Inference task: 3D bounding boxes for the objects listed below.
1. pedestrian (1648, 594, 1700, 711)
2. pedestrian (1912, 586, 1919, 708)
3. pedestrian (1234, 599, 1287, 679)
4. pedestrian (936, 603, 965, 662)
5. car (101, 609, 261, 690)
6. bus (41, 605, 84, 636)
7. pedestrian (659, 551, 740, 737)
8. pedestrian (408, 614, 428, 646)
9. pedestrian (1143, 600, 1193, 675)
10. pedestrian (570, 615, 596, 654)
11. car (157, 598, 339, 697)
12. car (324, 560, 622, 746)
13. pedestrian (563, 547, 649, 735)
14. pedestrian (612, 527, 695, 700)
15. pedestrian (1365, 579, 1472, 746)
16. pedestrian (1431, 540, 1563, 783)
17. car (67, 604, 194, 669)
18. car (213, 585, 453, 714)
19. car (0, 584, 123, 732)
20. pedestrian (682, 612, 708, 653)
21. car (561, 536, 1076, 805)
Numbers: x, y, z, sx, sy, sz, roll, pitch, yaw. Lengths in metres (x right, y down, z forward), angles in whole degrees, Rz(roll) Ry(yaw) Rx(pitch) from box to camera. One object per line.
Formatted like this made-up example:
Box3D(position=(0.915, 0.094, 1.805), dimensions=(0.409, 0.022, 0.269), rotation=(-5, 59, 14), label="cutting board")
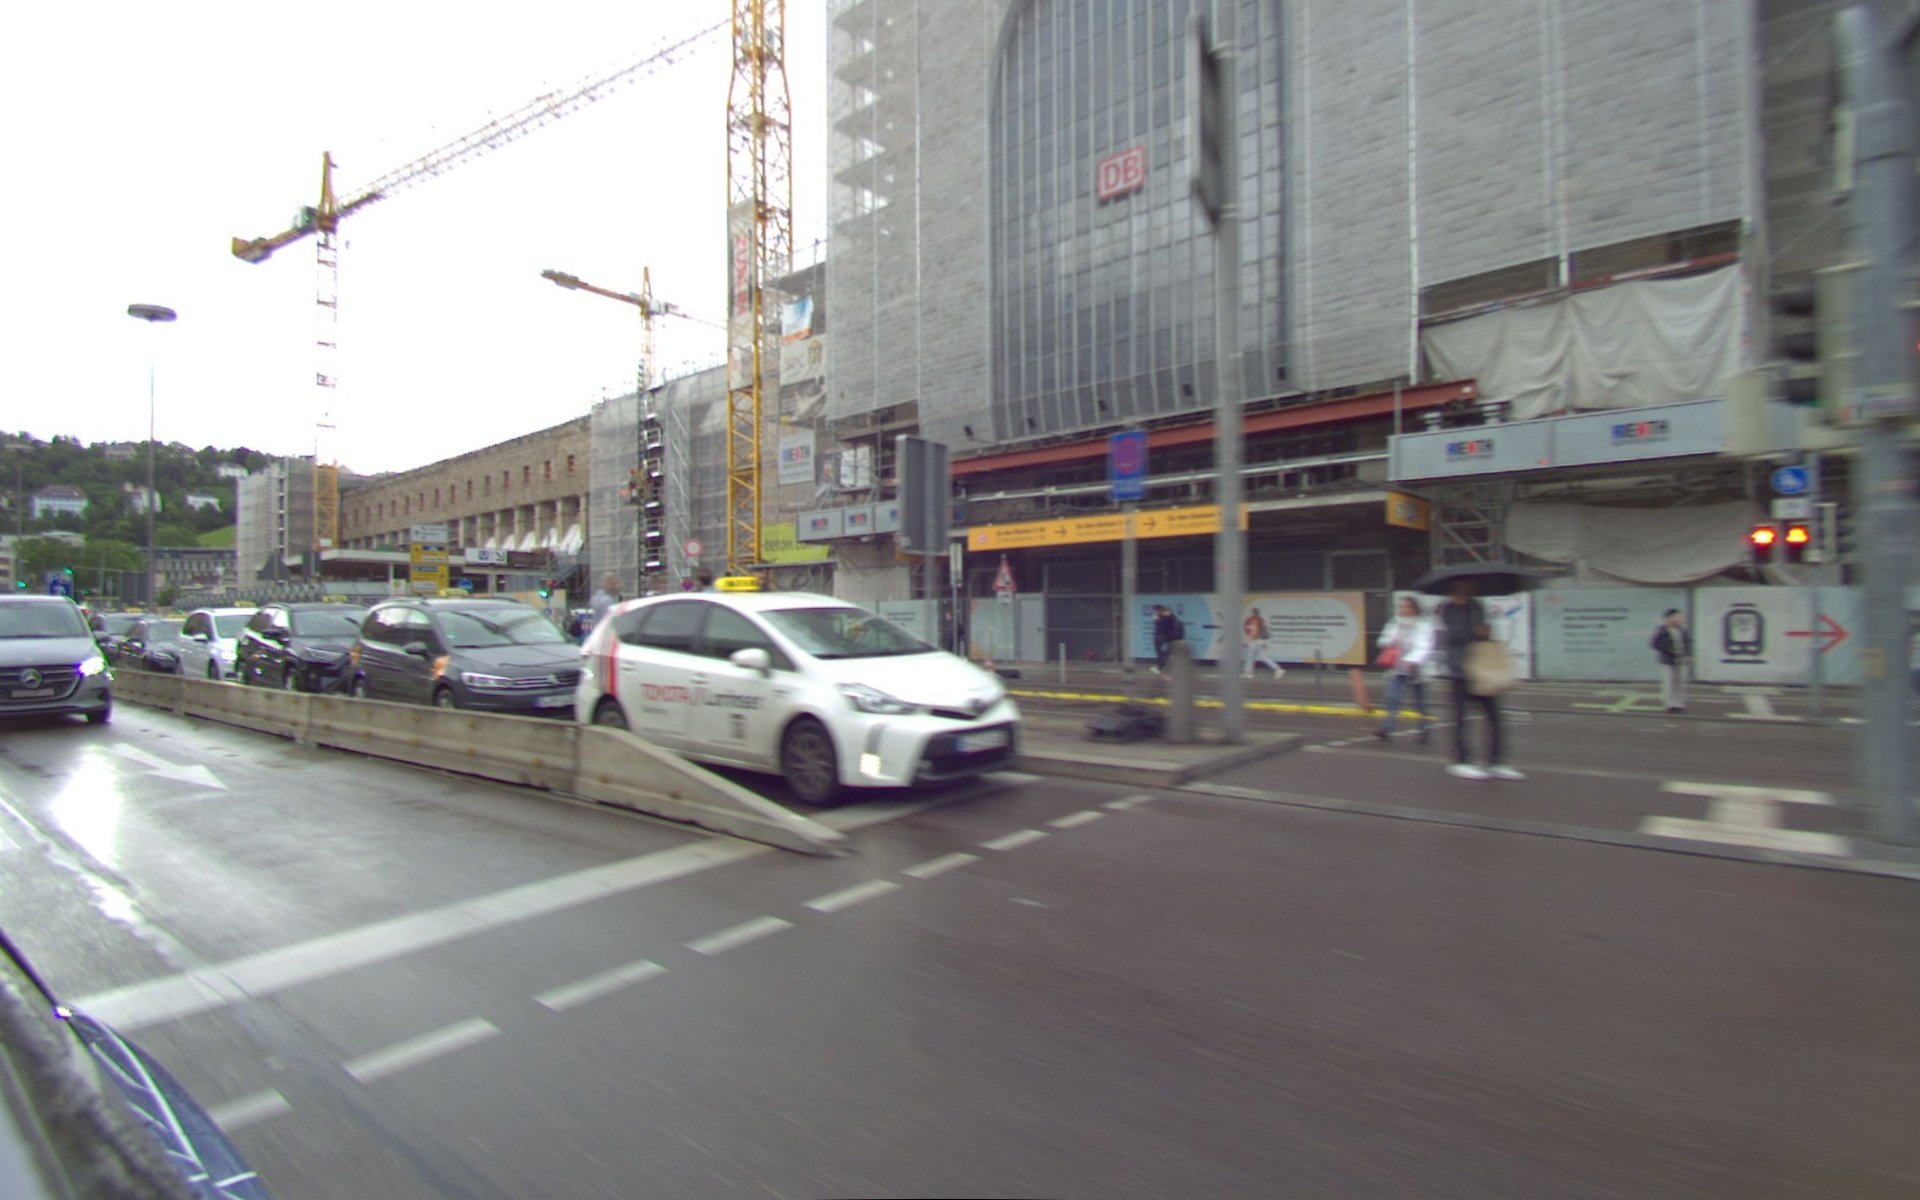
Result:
Box3D(position=(11.608, 0.836, 16.464), dimensions=(0.639, 1.855, 0.766), rotation=(-1, -2, 36), label="pedestrian")
Box3D(position=(15.248, 0.711, 15.229), dimensions=(0.969, 1.855, 1.044), rotation=(0, -2, -27), label="pedestrian")
Box3D(position=(7.146, 0.911, 24.072), dimensions=(0.993, 1.855, 0.719), rotation=(-2, -2, 42), label="pedestrian")
Box3D(position=(-0.306, 1.021, 31.964), dimensions=(0.529, 1.855, 0.772), rotation=(0, -1, -43), label="pedestrian")
Box3D(position=(-18.532, 1.116, 23.993), dimensions=(5.052, 1.724, 2.028), rotation=(-1, -2, 41), label="car")
Box3D(position=(-112.899, 2.597, 127.177), dimensions=(2.876, 3.605, 19.087), rotation=(2, -2, -45), label="bus")
Box3D(position=(-2.967, 0.490, 11.630), dimensions=(0.822, 2.029, 1.030), rotation=(-1, -1, -11), label="pedestrian")
Box3D(position=(-34.501, 1.909, 64.428), dimensions=(0.863, 1.954, 0.735), rotation=(-2, 1, 39), label="pedestrian")
Box3D(position=(5.273, 0.950, 25.639), dimensions=(0.936, 1.855, 0.810), rotation=(-2, -2, 41), label="pedestrian")
Box3D(position=(-18.586, 1.702, 49.926), dimensions=(0.829, 1.855, 1.059), rotation=(0, -1, -44), label="pedestrian")
Box3D(position=(-14.558, 0.913, 20.611), dimensions=(4.450, 1.800, 1.973), rotation=(-1, -2, 40), label="car")
Box3D(position=(-6.173, 0.591, 12.556), dimensions=(4.608, 1.906, 1.695), rotation=(-1, -2, 42), label="car")
Box3D(position=(-4.007, 0.453, 11.447), dimensions=(0.890, 2.029, 0.522), rotation=(-2, -2, 40), label="pedestrian")
Box3D(position=(-3.747, 0.172, 12.362), dimensions=(0.836, 2.029, 0.615), rotation=(-2, -2, 41), label="pedestrian")
Box3D(position=(4.847, 0.636, 10.701), dimensions=(0.836, 1.677, 0.706), rotation=(-2, -2, 41), label="pedestrian")
Box3D(position=(4.115, 0.454, 7.766), dimensions=(0.756, 1.748, 0.577), rotation=(-2, -2, 42), label="pedestrian")
Box3D(position=(-23.159, 0.985, 28.191), dimensions=(4.639, 1.666, 1.973), rotation=(-1, -2, 41), label="car")
Box3D(position=(-10.273, 0.742, 16.420), dimensions=(4.845, 1.800, 1.973), rotation=(-1, -2, 41), label="car")
Box3D(position=(-14.303, 0.802, 15.059), dimensions=(5.247, 1.918, 1.973), rotation=(-1, 0, 41), label="car")
Box3D(position=(-10.683, 1.316, 40.829), dimensions=(0.839, 1.626, 0.668), rotation=(-2, -1, 44), label="pedestrian")
Box3D(position=(-1.434, 0.495, 8.613), dimensions=(4.665, 1.698, 1.767), rotation=(-1, -2, 42), label="car")
